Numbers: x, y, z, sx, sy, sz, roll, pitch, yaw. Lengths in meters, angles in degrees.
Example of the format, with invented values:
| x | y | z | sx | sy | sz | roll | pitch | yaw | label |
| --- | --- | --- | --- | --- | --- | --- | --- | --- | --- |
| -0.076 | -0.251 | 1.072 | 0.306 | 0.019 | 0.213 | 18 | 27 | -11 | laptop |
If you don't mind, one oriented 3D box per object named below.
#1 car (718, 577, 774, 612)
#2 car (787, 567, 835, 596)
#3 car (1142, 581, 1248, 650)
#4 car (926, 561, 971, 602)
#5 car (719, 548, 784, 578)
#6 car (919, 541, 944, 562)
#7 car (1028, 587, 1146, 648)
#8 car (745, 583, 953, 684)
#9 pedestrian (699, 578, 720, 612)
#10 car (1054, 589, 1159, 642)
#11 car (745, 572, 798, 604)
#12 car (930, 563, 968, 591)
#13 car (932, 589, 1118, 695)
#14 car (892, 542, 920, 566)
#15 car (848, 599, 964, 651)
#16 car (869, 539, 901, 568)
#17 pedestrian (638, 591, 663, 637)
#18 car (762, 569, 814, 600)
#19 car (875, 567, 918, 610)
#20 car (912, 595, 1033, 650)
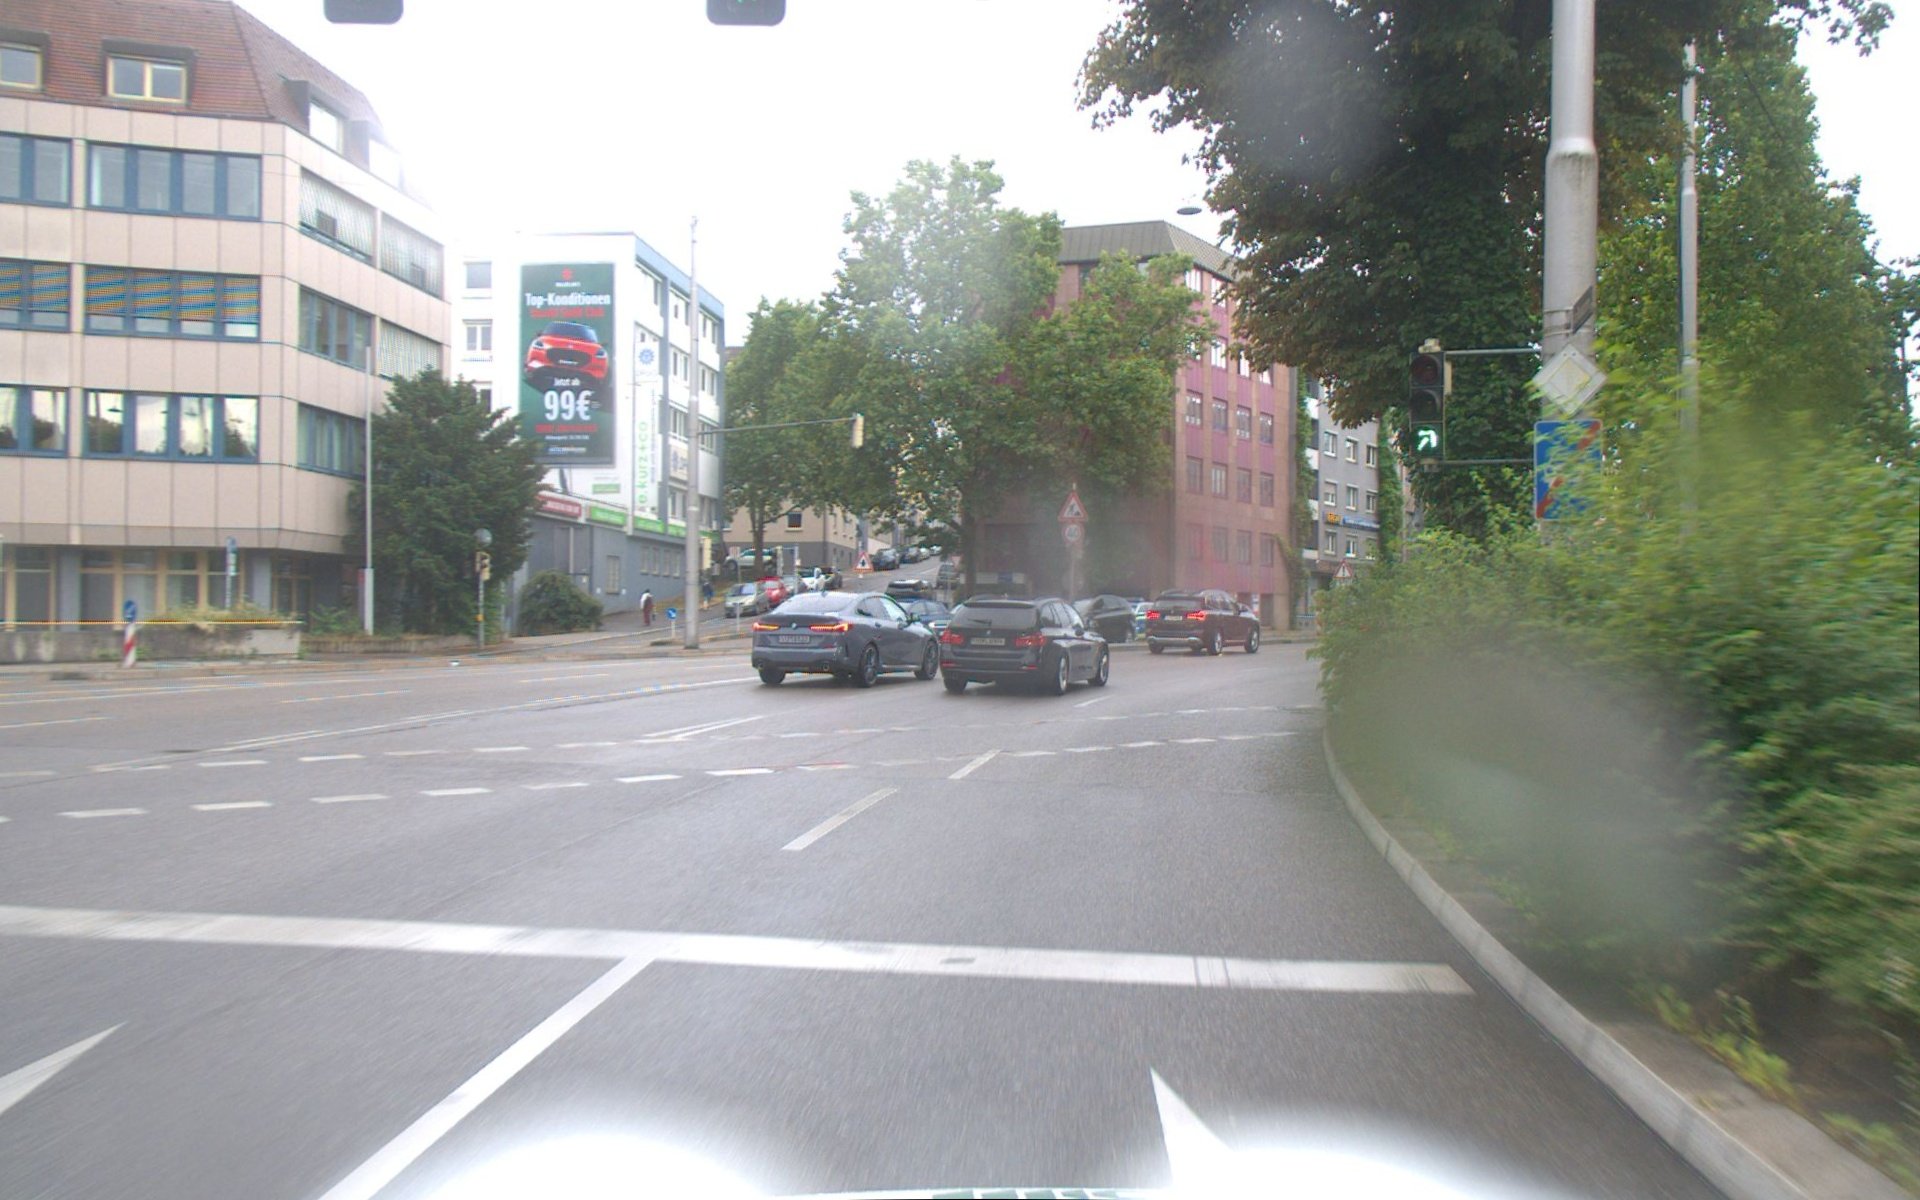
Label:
| x | y | z | sx | sy | sz | roll | pitch | yaw | label |
| --- | --- | --- | --- | --- | --- | --- | --- | --- | --- |
| -10.766 | -0.295 | 83.584 | 1.794 | 1.488 | 4.182 | -1 | 4 | 6 | car |
| -8.830 | -1.115 | 98.327 | 1.793 | 1.455 | 4.075 | -1 | 4 | 11 | car |
| 6.236 | 0.417 | 43.532 | 1.861 | 1.723 | 4.000 | -1 | -1 | 21 | car |
| -0.592 | -1.012 | 88.130 | 1.890 | 1.900 | 4.005 | -1 | 5 | 6 | car |
| -14.867 | -2.646 | 118.279 | 4.325 | 2.041 | 2.000 | -1 | -1 | 1 | car |
| -2.697 | -4.608 | 157.683 | 1.951 | 1.874 | 4.004 | -1 | 3 | 4 | car |
| 3.765 | 0.507 | 48.330 | 1.817 | 1.651 | 4.587 | -2 | -1 | 26 | car |
| -1.643 | 0.522 | 26.177 | 1.753 | 1.451 | 4.386 | -1 | -1 | 19 | car |
| -12.998 | -0.240 | 85.856 | 0.821 | 1.748 | 0.982 | -1 | -1 | 6 | pedestrian |
| 5.035 | 0.521 | 56.167 | 1.734 | 1.711 | 4.580 | -1 | -1 | 31 | car |
| -10.130 | -0.670 | 89.119 | 1.794 | 1.455 | 4.075 | -1 | 4 | 8 | car |
| -0.675 | -1.464 | 104.771 | 1.890 | 1.703 | 4.004 | -1 | 2 | 6 | car |
| 1.108 | 0.583 | 25.366 | 1.753 | 1.451 | 4.616 | 0 | 0 | 17 | car |
| -4.620 | -3.966 | 142.288 | 1.951 | 1.874 | 4.004 | -1 | 3 | 4 | car |
| -1.620 | 0.761 | 50.992 | 1.728 | 1.539 | 4.114 | -1 | -1 | 29 | car |
| -5.797 | -3.573 | 128.467 | 1.951 | 2.049 | 4.002 | -1 | -1 | 4 | car |
| -13.770 | 0.621 | 73.593 | 0.821 | 2.049 | 0.982 | -1 | -1 | 6 | pedestrian |
| -9.724 | -0.899 | 93.581 | 1.793 | 1.455 | 4.075 | -1 | 4 | 11 | car |
| -3.102 | -0.580 | 81.219 | 1.891 | 1.900 | 4.002 | 1 | 3 | 0 | car |
| 0.425 | 0.663 | 48.592 | 1.783 | 1.539 | 4.226 | -1 | -1 | 29 | car |
